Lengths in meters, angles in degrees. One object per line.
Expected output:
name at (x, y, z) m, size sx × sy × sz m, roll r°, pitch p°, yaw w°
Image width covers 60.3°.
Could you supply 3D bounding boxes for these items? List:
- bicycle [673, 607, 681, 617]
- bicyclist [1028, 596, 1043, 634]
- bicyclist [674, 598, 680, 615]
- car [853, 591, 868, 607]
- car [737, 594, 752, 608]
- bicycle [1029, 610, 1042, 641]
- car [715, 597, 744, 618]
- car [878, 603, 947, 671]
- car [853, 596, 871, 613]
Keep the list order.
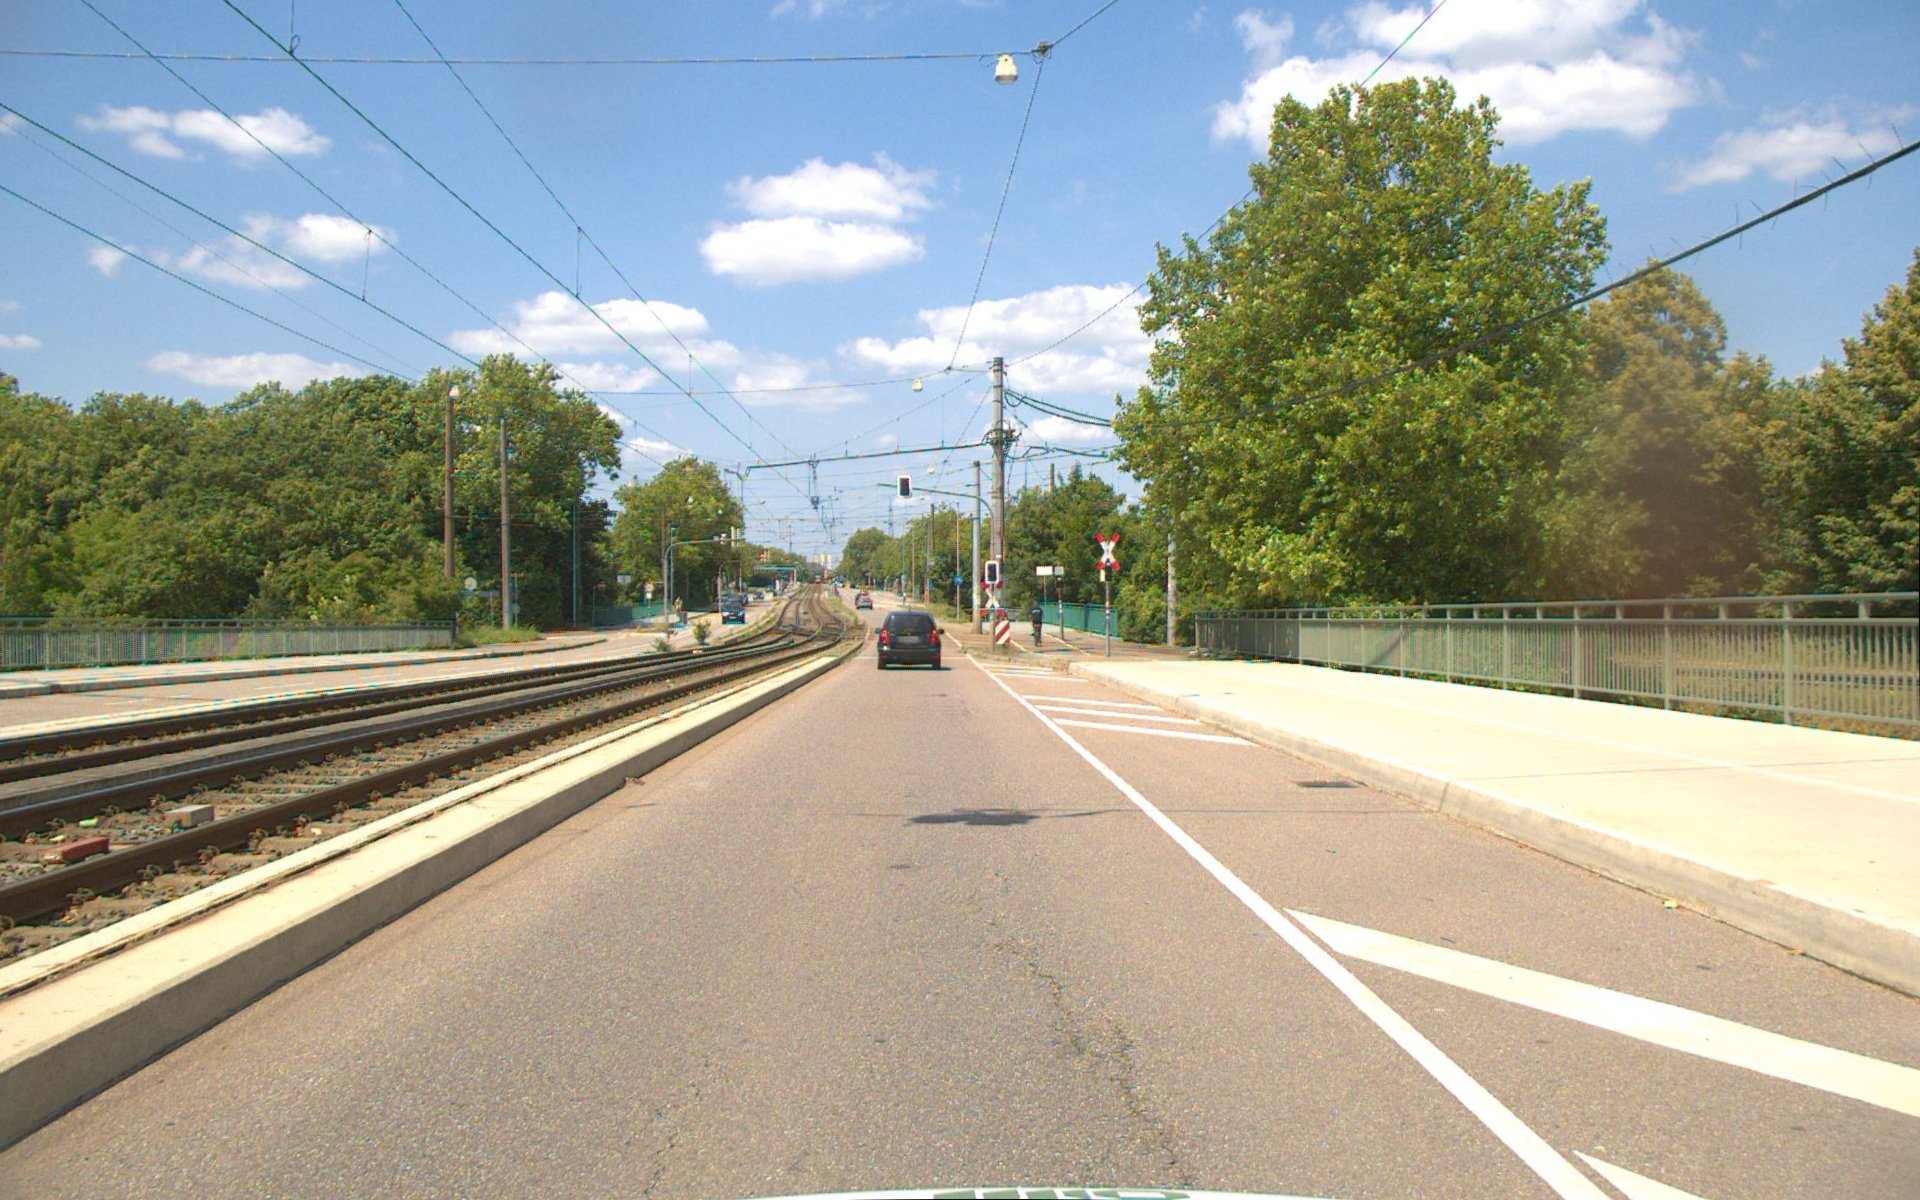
bicycle at (-25.201, 1.078, 147.315) m, size 0.459 × 0.883 × 1.742 m, roll 0°, pitch 0°, yaw -2°
bicyclist at (3.063, 0.603, 67.176) m, size 0.573 × 1.521 × 0.558 m, roll 1°, pitch 1°, yaw 0°
bicyclist at (-25.209, 0.607, 147.394) m, size 0.447 × 1.500 × 0.633 m, roll 0°, pitch 0°, yaw -3°
car at (-13.593, -0.097, 226.225) m, size 1.953 × 2.048 × 3.999 m, roll 1°, pitch 2°, yaw -2°
car at (-31.189, 0.164, 239.313) m, size 1.954 × 2.049 × 3.997 m, roll 0°, pitch 0°, yaw -4°
bicycle at (3.056, 1.033, 67.322) m, size 0.423 × 1.172 × 1.855 m, roll 1°, pitch 2°, yaw 0°
car at (-17.429, 0.547, 125.069) m, size 1.670 × 1.536 × 3.732 m, roll -1°, pitch 0°, yaw -1°
car at (-1.310, 0.995, 46.229) m, size 1.815 × 1.597 × 4.388 m, roll 1°, pitch 2°, yaw -2°
car at (-11.266, 0.506, 190.533) m, size 1.847 × 1.668 × 4.000 m, roll 3°, pitch 1°, yaw -1°
